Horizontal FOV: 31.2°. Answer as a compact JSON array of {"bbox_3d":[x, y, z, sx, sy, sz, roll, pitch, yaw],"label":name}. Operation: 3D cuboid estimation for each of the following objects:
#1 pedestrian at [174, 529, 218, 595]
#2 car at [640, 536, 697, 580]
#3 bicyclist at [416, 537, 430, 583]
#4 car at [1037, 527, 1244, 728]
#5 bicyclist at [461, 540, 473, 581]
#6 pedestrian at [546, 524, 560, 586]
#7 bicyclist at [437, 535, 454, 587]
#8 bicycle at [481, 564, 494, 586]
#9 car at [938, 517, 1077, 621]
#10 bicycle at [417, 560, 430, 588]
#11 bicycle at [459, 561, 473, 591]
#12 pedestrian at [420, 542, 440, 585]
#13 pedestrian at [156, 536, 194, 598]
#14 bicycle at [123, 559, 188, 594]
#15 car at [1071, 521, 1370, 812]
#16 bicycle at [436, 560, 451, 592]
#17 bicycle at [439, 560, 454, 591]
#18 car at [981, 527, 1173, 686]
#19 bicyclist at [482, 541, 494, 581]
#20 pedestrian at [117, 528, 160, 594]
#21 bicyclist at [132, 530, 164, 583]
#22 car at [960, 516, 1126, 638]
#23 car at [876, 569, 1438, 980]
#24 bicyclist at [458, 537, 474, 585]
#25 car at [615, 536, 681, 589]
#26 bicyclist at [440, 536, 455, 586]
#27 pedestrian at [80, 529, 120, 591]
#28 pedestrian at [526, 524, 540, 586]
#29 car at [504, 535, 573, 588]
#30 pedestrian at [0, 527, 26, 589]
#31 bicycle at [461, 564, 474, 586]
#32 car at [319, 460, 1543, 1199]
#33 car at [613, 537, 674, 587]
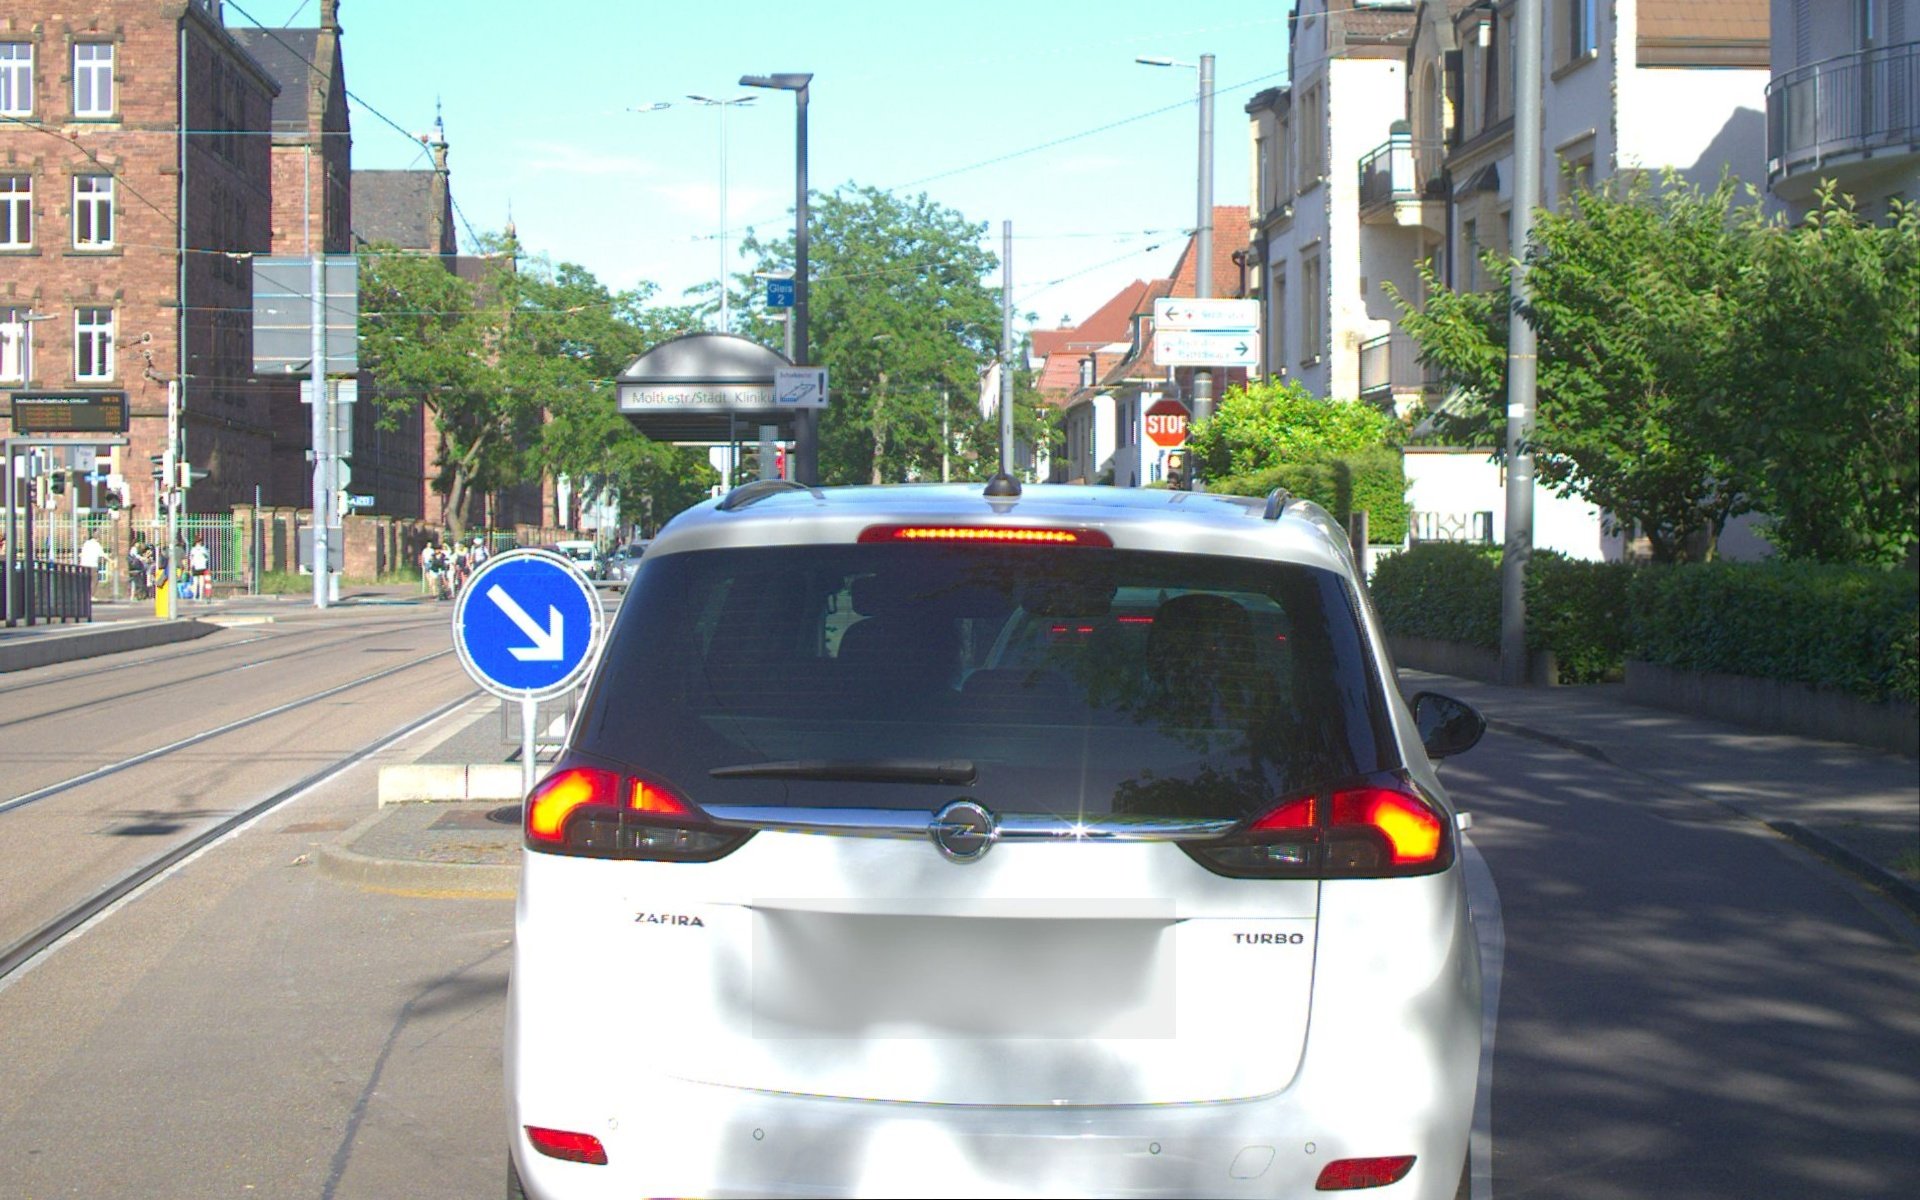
[{"bbox_3d":[-19.762,-0.988,88.967,0.895,1.678,1.029,1,0,-1],"label":"pedestrian"},{"bbox_3d":[-11.072,-1.608,130.658,1.993,1.623,4.001,0,1,-2],"label":"car"},{"bbox_3d":[-17.974,-1.331,115.101,0.444,1.548,0.496,0,1,-4],"label":"bicyclist"},{"bbox_3d":[1.495,0.181,29.260,1.637,1.595,3.854,0,1,2],"label":"car"},{"bbox_3d":[-15.998,-1.288,111.607,0.344,1.315,0.405,1,0,-4],"label":"bicyclist"},{"bbox_3d":[-13.282,-1.466,112.260,0.444,2.007,0.496,0,1,-4],"label":"pedestrian"},{"bbox_3d":[-15.468,-1.178,103.288,0.444,1.548,0.743,0,1,-4],"label":"bicyclist"},{"bbox_3d":[-15.344,-0.810,111.673,0.344,0.722,0.997,1,1,-4],"label":"bicycle"},{"bbox_3d":[0.669,-0.485,51.764,1.993,1.497,4.000,0,1,-1],"label":"car"},{"bbox_3d":[-17.979,-0.865,115.145,0.344,0.946,0.997,1,0,-4],"label":"bicycle"},{"bbox_3d":[-15.691,-0.774,109.170,0.344,0.946,0.997,1,0,-4],"label":"bicycle"},{"bbox_3d":[-21.552,-1.491,139.829,0.734,1.708,0.754,1,0,-6],"label":"pedestrian"},{"bbox_3d":[-21.794,-0.914,95.475,0.735,1.708,0.705,1,0,22],"label":"pedestrian"},{"bbox_3d":[-21.908,-0.636,93.611,1.670,0.949,0.529,0,1,-2],"label":"bicycle"},{"bbox_3d":[1.493,0.332,20.832,1.637,1.595,3.854,0,1,2],"label":"car"},{"bbox_3d":[-15.476,-0.710,103.088,0.344,0.946,1.160,1,0,-4],"label":"bicycle"},{"bbox_3d":[-15.922,-0.751,106.620,0.344,0.946,0.997,1,0,-4],"label":"bicycle"},{"bbox_3d":[1.177,0.027,36.183,1.830,1.574,4.010,0,1,-1],"label":"car"},{"bbox_3d":[-15.342,-1.273,111.662,0.359,1.299,0.398,0,1,-4],"label":"bicyclist"},{"bbox_3d":[-21.156,-0.996,88.554,0.843,1.686,1.029,1,0,-1],"label":"pedestrian"},{"bbox_3d":[-22.097,-1.175,93.589,0.758,1.425,0.516,1,0,-2],"label":"bicyclist"},{"bbox_3d":[1.022,-0.316,44.304,1.993,1.497,4.000,0,1,-1],"label":"car"},{"bbox_3d":[0.745,0.590,13.986,1.953,1.392,4.000,0,1,2],"label":"car"},{"bbox_3d":[-15.682,-1.238,109.155,0.444,1.548,0.496,0,1,-4],"label":"bicyclist"},{"bbox_3d":[-9.729,-1.183,107.315,1.993,1.623,4.001,0,1,-5],"label":"car"},{"bbox_3d":[-15.886,-1.216,106.571,0.444,1.548,0.496,0,1,-4],"label":"bicyclist"},{"bbox_3d":[-22.217,-1.042,88.824,0.802,1.583,0.935,1,0,-3],"label":"pedestrian"},{"bbox_3d":[-13.899,-1.471,111.934,0.444,2.007,0.496,0,1,-4],"label":"pedestrian"},{"bbox_3d":[-13.109,-1.220,107.092,1.993,1.623,4.001,0,1,-5],"label":"car"},{"bbox_3d":[-24.620,-1.072,88.515,0.931,1.583,0.805,1,0,-28],"label":"pedestrian"},{"bbox_3d":[-15.995,-0.818,111.620,0.344,0.722,0.997,1,1,-4],"label":"bicycle"},{"bbox_3d":[0.136,0.583,7.606,1.994,1.639,3.992,1,1,6],"label":"car"},{"bbox_3d":[-10.526,-1.265,114.421,1.993,1.623,4.001,0,1,-5],"label":"car"}]
